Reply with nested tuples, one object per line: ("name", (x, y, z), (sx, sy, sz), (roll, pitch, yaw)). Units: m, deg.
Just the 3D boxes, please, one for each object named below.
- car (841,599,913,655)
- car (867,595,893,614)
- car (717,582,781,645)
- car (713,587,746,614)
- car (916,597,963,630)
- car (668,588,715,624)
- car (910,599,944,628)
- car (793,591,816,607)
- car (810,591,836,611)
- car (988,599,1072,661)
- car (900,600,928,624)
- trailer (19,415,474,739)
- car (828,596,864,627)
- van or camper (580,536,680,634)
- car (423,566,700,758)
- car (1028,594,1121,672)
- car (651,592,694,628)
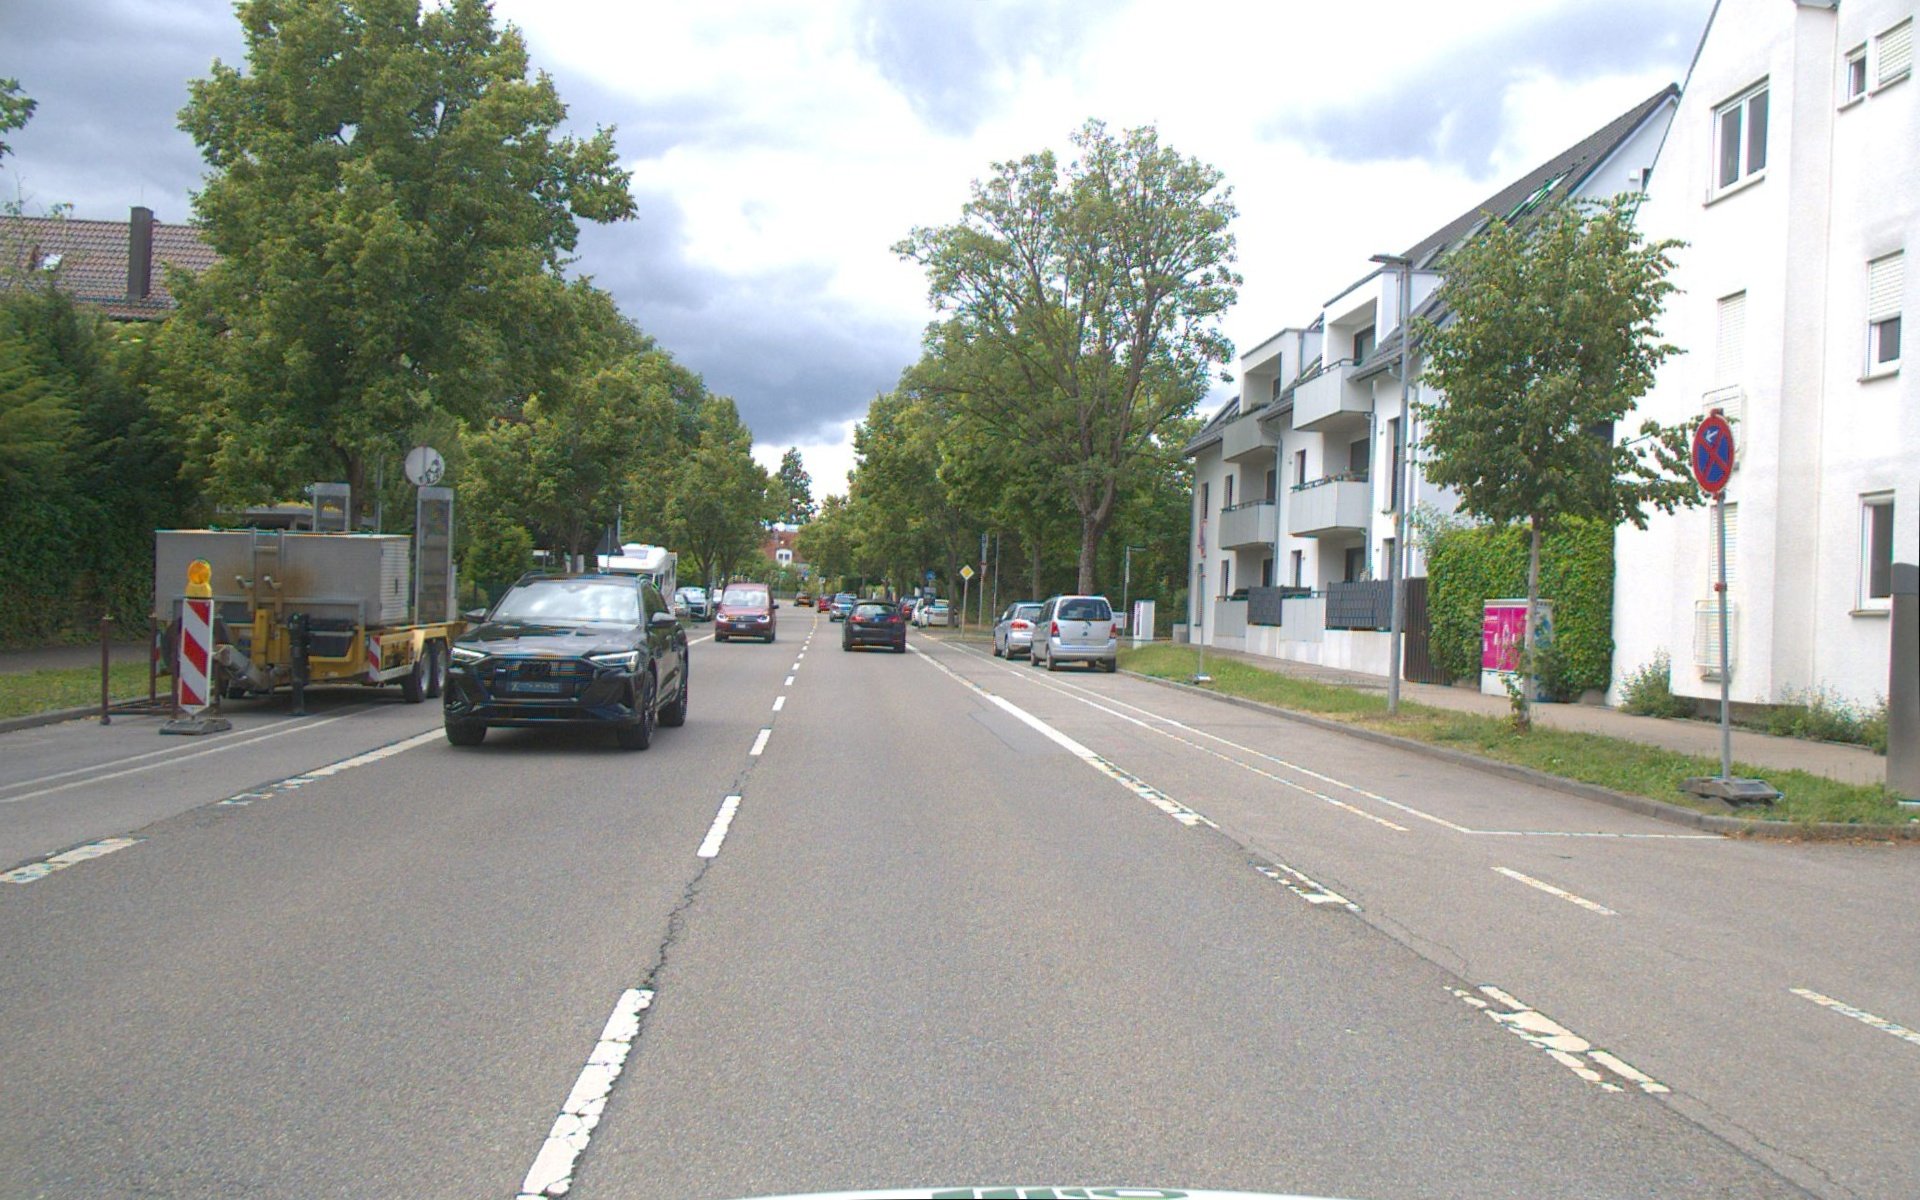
("car", (-2.396, 0.746, 46.876), (1.749, 1.474, 3.552), (2, 0, -7))
("car", (-6.628, 0.381, 136.779), (1.652, 1.457, 4.035), (2, 0, -10))
("car", (-6.596, 0.407, 52.084), (1.726, 1.834, 4.764), (2, 0, -5))
("car", (-15.259, 0.002, 109.781), (1.837, 1.718, 4.861), (2, 0, -5))
("car", (-1.030, 0.650, 81.764), (1.981, 1.468, 5.020), (2, 0, -4))
("car", (-13.380, 0.290, 82.659), (1.781, 1.681, 4.696), (2, 0, -3))
("car", (-1.840, 0.720, 90.162), (1.584, 1.485, 3.653), (1, 0, -5))
("car", (-15.566, -0.090, 165.289), (1.957, 1.534, 3.991), (3, -1, -10))
("car", (-10.918, 0.079, 131.722), (1.955, 1.557, 3.994), (2, 0, -6))
("car", (1.817, 0.765, 44.173), (1.654, 1.519, 4.222), (2, 0, -5))
("car", (-2.845, 0.726, 102.003), (1.605, 1.445, 3.997), (2, 0, -3))
("trailer", (-7.912, -0.172, 19.568), (2.622, 2.992, 7.466), (3, -1, -5))
("car", (-6.601, 0.692, 95.559), (1.954, 1.585, 3.995), (2, -2, -5))
("van or camper", (-11.236, -0.486, 56.946), (2.387, 3.062, 7.685), (2, 0, -4))
("car", (-3.905, 0.553, 17.010), (1.954, 1.697, 4.586), (0, 0, -3))
("car", (2.615, 0.732, 38.451), (1.600, 1.694, 3.644), (2, 0, -5))
("car", (-12.647, 0.411, 72.879), (1.525, 1.496, 4.446), (2, 0, -6))
